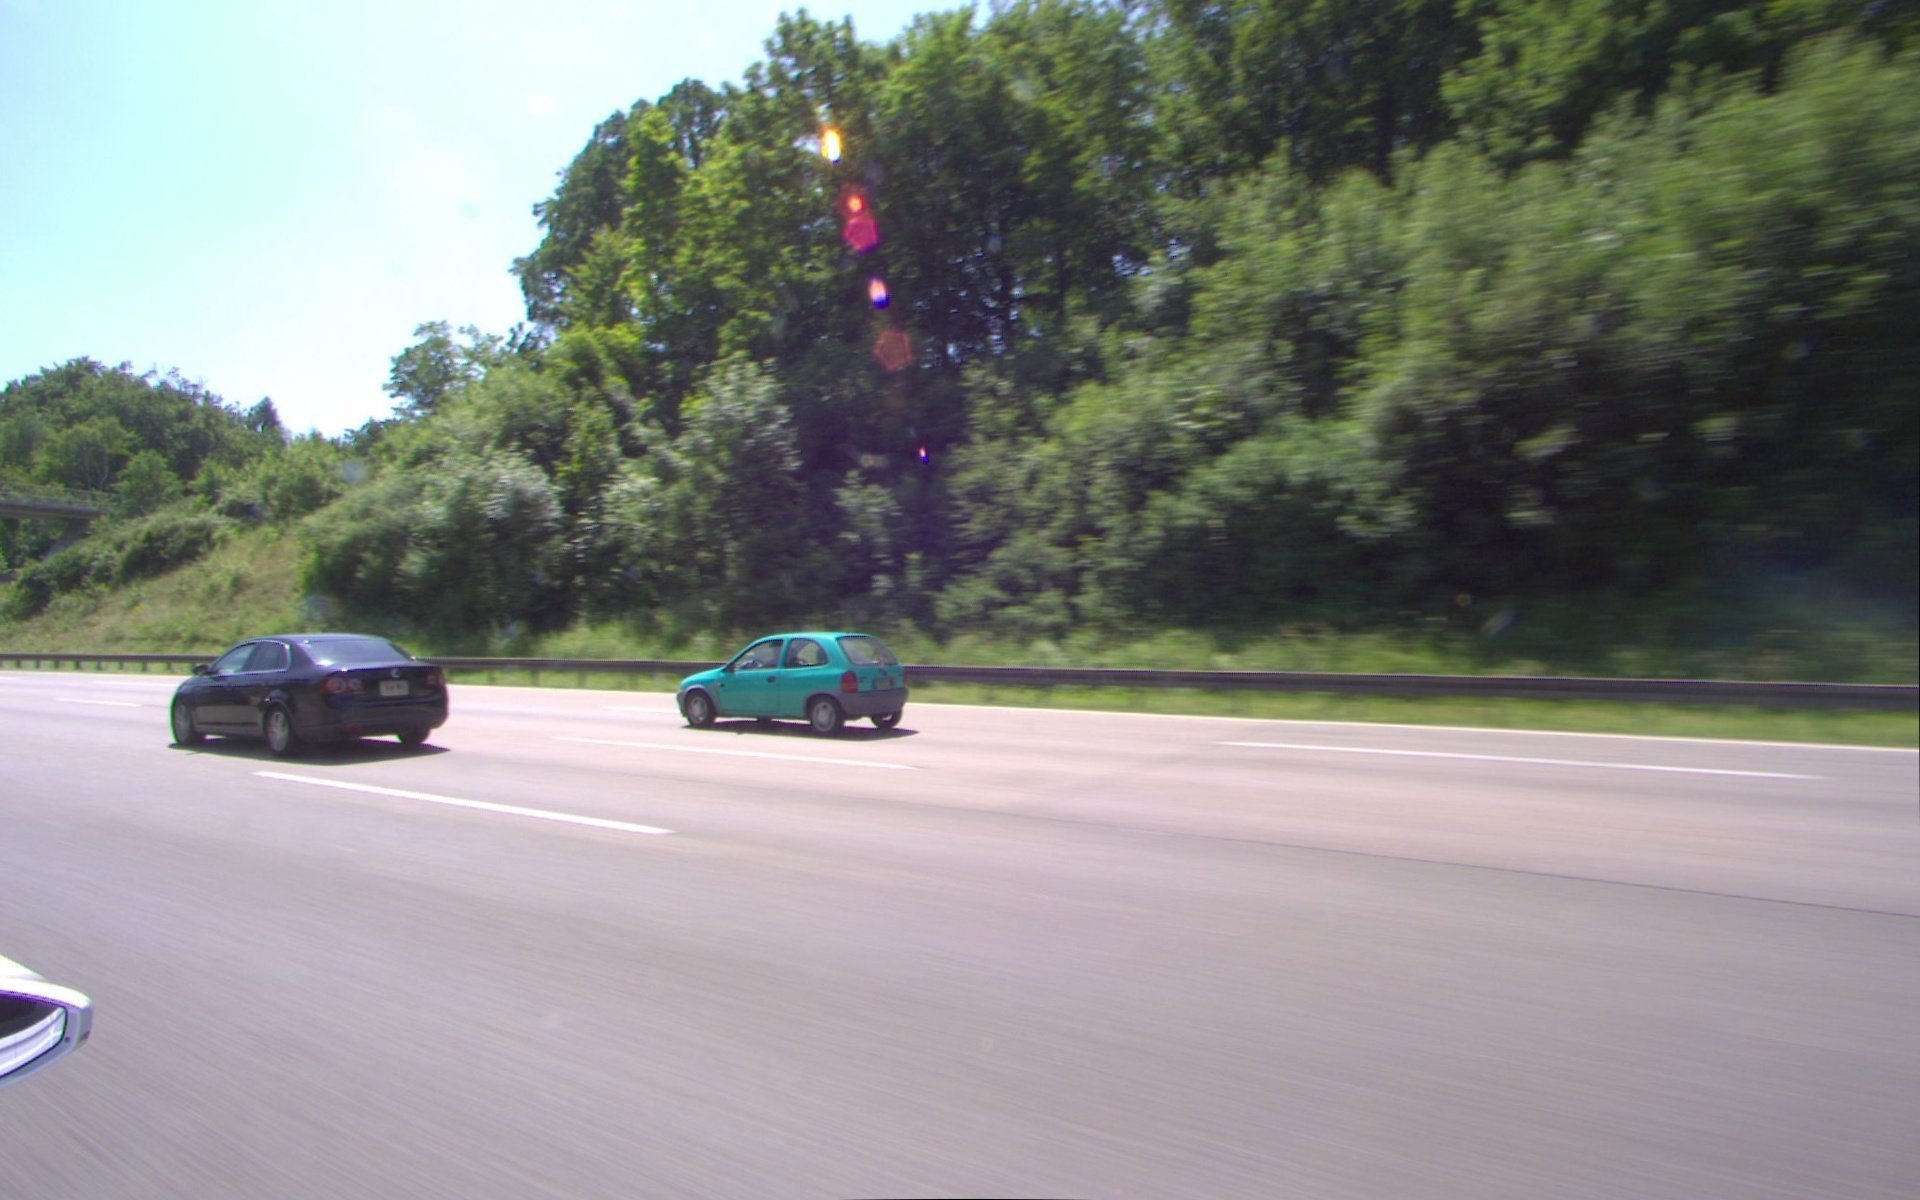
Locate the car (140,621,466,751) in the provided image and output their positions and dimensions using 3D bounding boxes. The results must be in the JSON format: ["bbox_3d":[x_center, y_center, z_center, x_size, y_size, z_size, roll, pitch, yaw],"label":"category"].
[{"bbox_3d":[-8.607,0.995,12.984,4.832,1.426,1.663,-1,-1,32],"label":"car"}]

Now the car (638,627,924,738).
[{"bbox_3d":[-2.742,1.141,14.995,4.277,1.462,1.542,-1,-1,31],"label":"car"}]
